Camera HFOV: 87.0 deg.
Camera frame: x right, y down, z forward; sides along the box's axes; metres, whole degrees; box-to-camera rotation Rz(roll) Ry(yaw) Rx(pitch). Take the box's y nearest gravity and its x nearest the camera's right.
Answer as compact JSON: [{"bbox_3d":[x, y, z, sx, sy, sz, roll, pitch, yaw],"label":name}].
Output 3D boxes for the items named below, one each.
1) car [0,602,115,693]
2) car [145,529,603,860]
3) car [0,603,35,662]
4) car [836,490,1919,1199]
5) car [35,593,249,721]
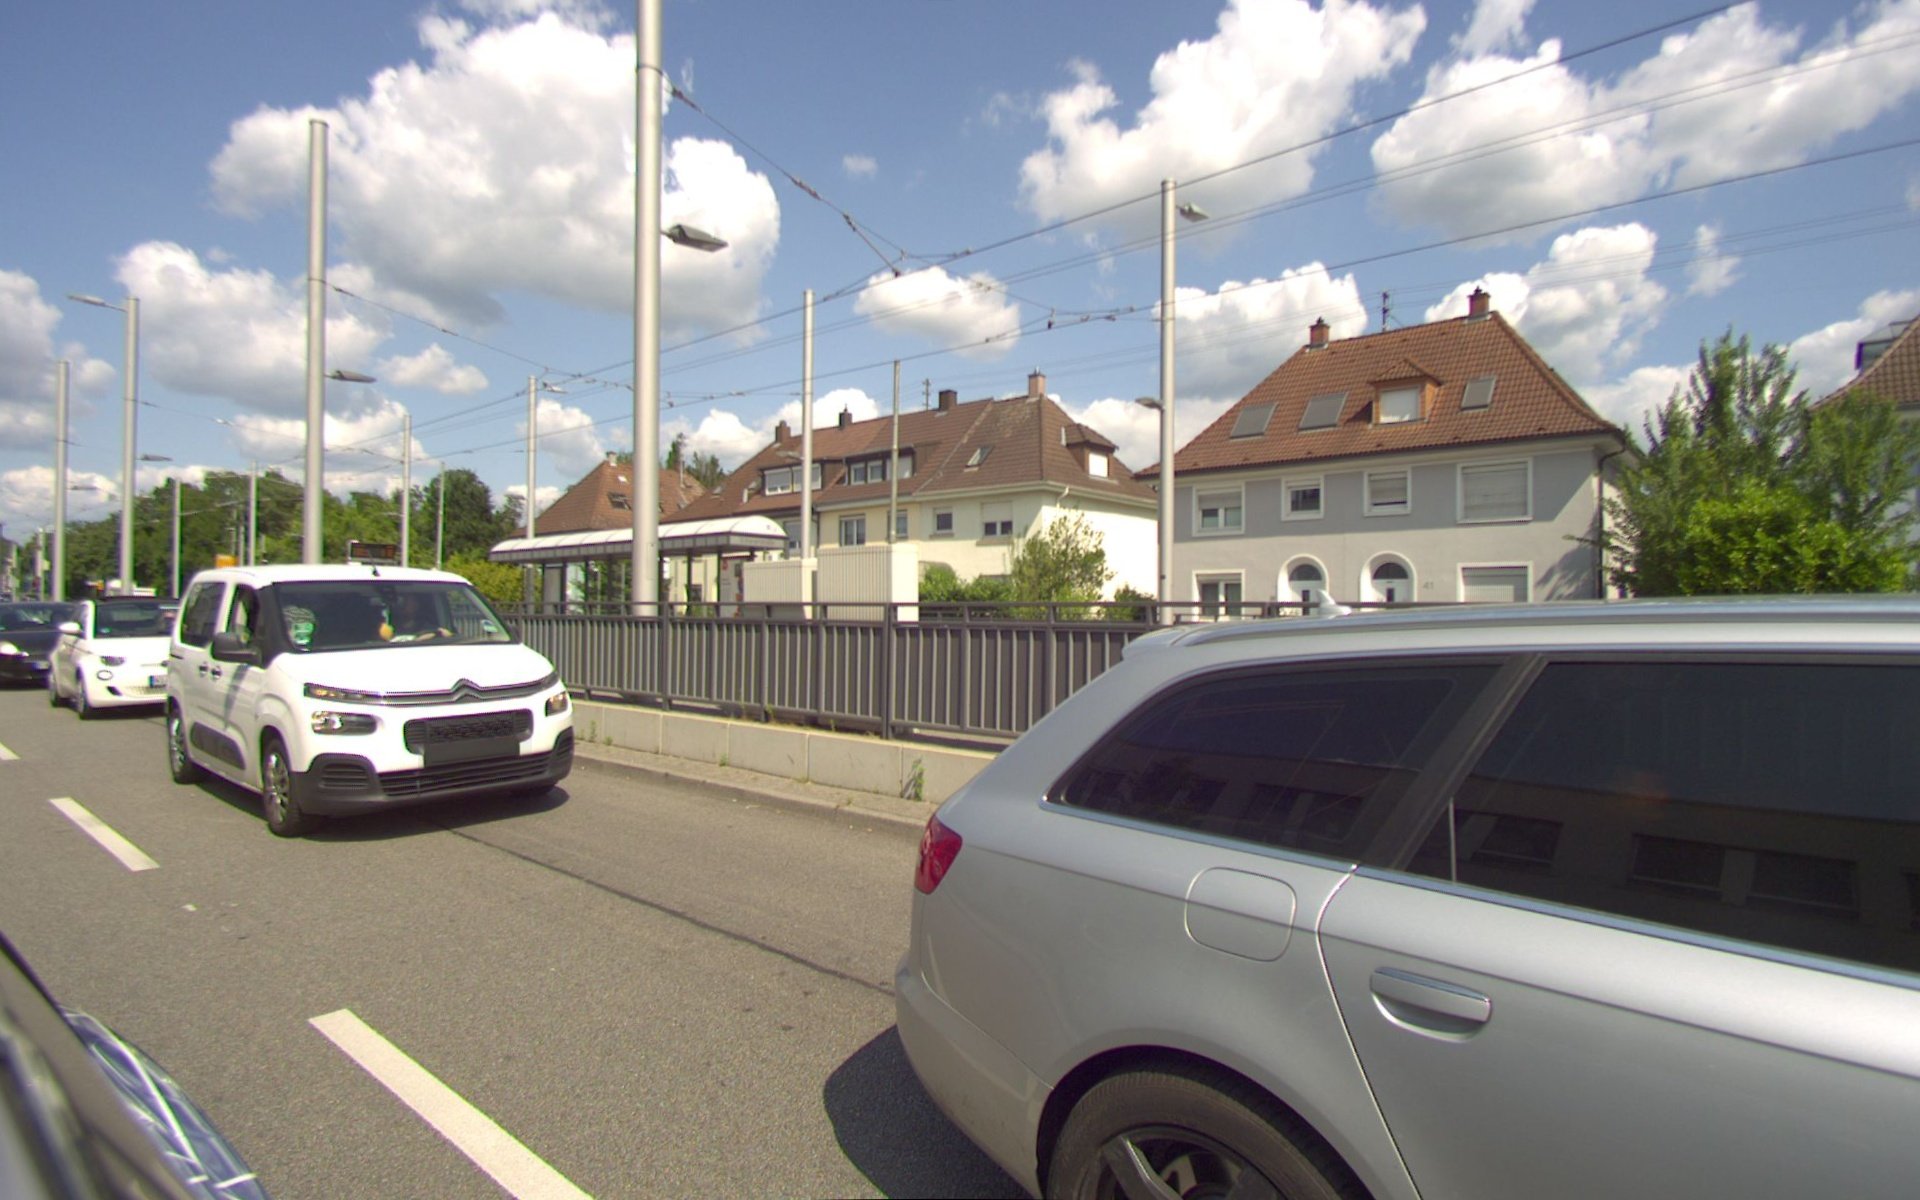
[{"bbox_3d":[-16.429,0.762,17.933,3.556,1.432,1.659,0,1,40],"label":"car"},{"bbox_3d":[-4.643,0.505,7.712,4.328,1.829,1.775,0,1,42],"label":"car"},{"bbox_3d":[-24.500,0.781,25.224,4.497,1.368,1.676,0,1,42],"label":"car"},{"bbox_3d":[2.077,0.620,1.308,4.720,1.483,1.776,0,1,41],"label":"car"},{"bbox_3d":[-11.175,0.685,13.764,3.391,1.515,1.659,0,0,40],"label":"car"}]
